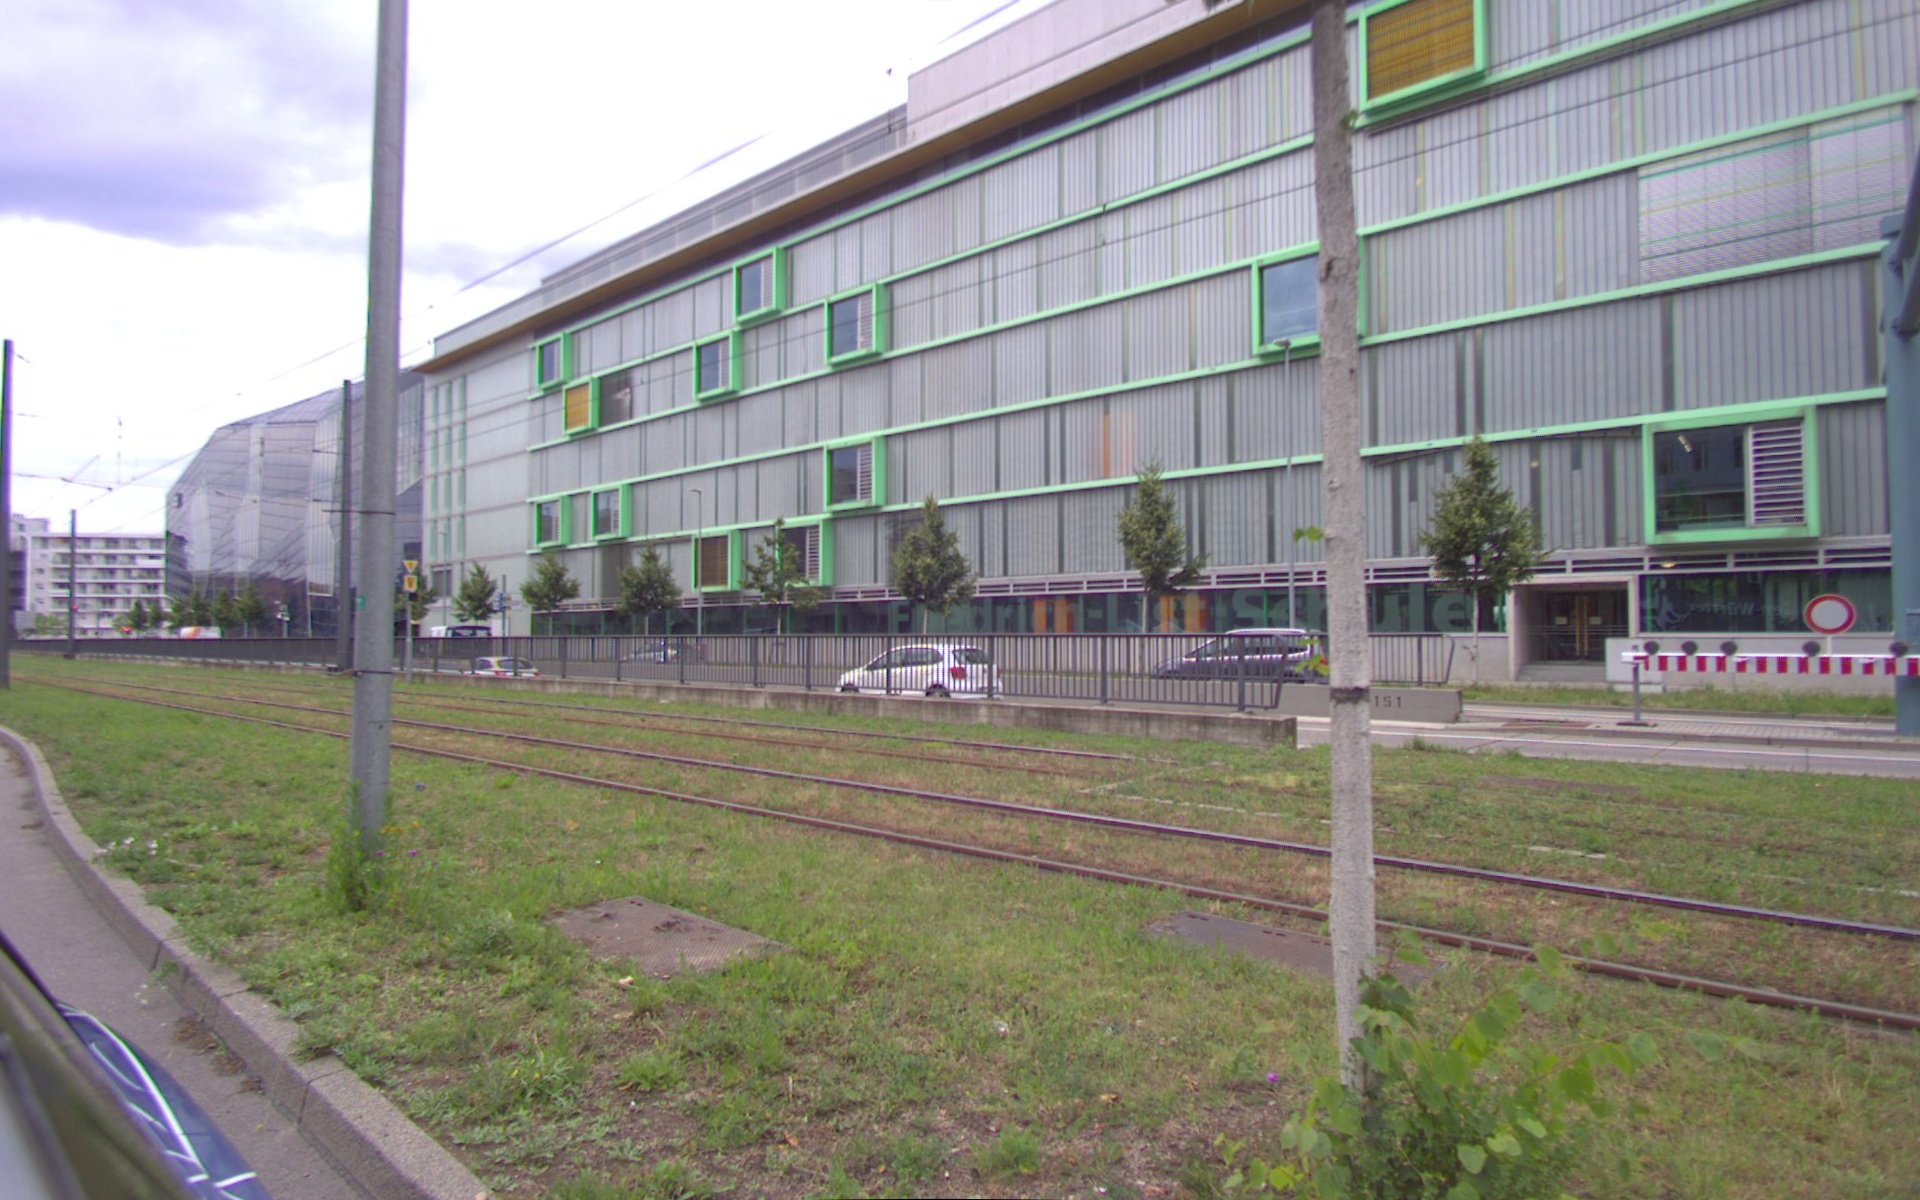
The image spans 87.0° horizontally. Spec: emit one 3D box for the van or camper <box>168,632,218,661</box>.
[{"bbox_3d":[-65.174,3.962,85.978,6.503,2.304,2.150,-3,-2,42],"label":"van or camper"}]

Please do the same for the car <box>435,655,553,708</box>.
[{"bbox_3d":[-15.620,2.676,33.839,4.377,1.598,1.972,-2,-3,41],"label":"car"}]

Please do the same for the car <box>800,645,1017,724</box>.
[{"bbox_3d":[-1.160,1.697,21.268,4.568,1.491,1.745,-2,-3,39],"label":"car"}]

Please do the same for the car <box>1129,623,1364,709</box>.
[{"bbox_3d":[6.663,1.491,23.897,4.965,1.837,1.972,-2,-3,42],"label":"car"}]

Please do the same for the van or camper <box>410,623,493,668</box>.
[{"bbox_3d":[-27.449,2.433,54.565,5.356,2.304,2.150,-3,-3,41],"label":"van or camper"}]

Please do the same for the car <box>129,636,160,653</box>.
[{"bbox_3d":[-89.706,4.913,111.306,4.766,1.605,1.972,-5,-4,43],"label":"car"}]

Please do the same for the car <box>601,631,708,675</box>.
[{"bbox_3d":[-12.322,2.109,40.689,4.645,1.679,1.972,-2,-3,42],"label":"car"}]
